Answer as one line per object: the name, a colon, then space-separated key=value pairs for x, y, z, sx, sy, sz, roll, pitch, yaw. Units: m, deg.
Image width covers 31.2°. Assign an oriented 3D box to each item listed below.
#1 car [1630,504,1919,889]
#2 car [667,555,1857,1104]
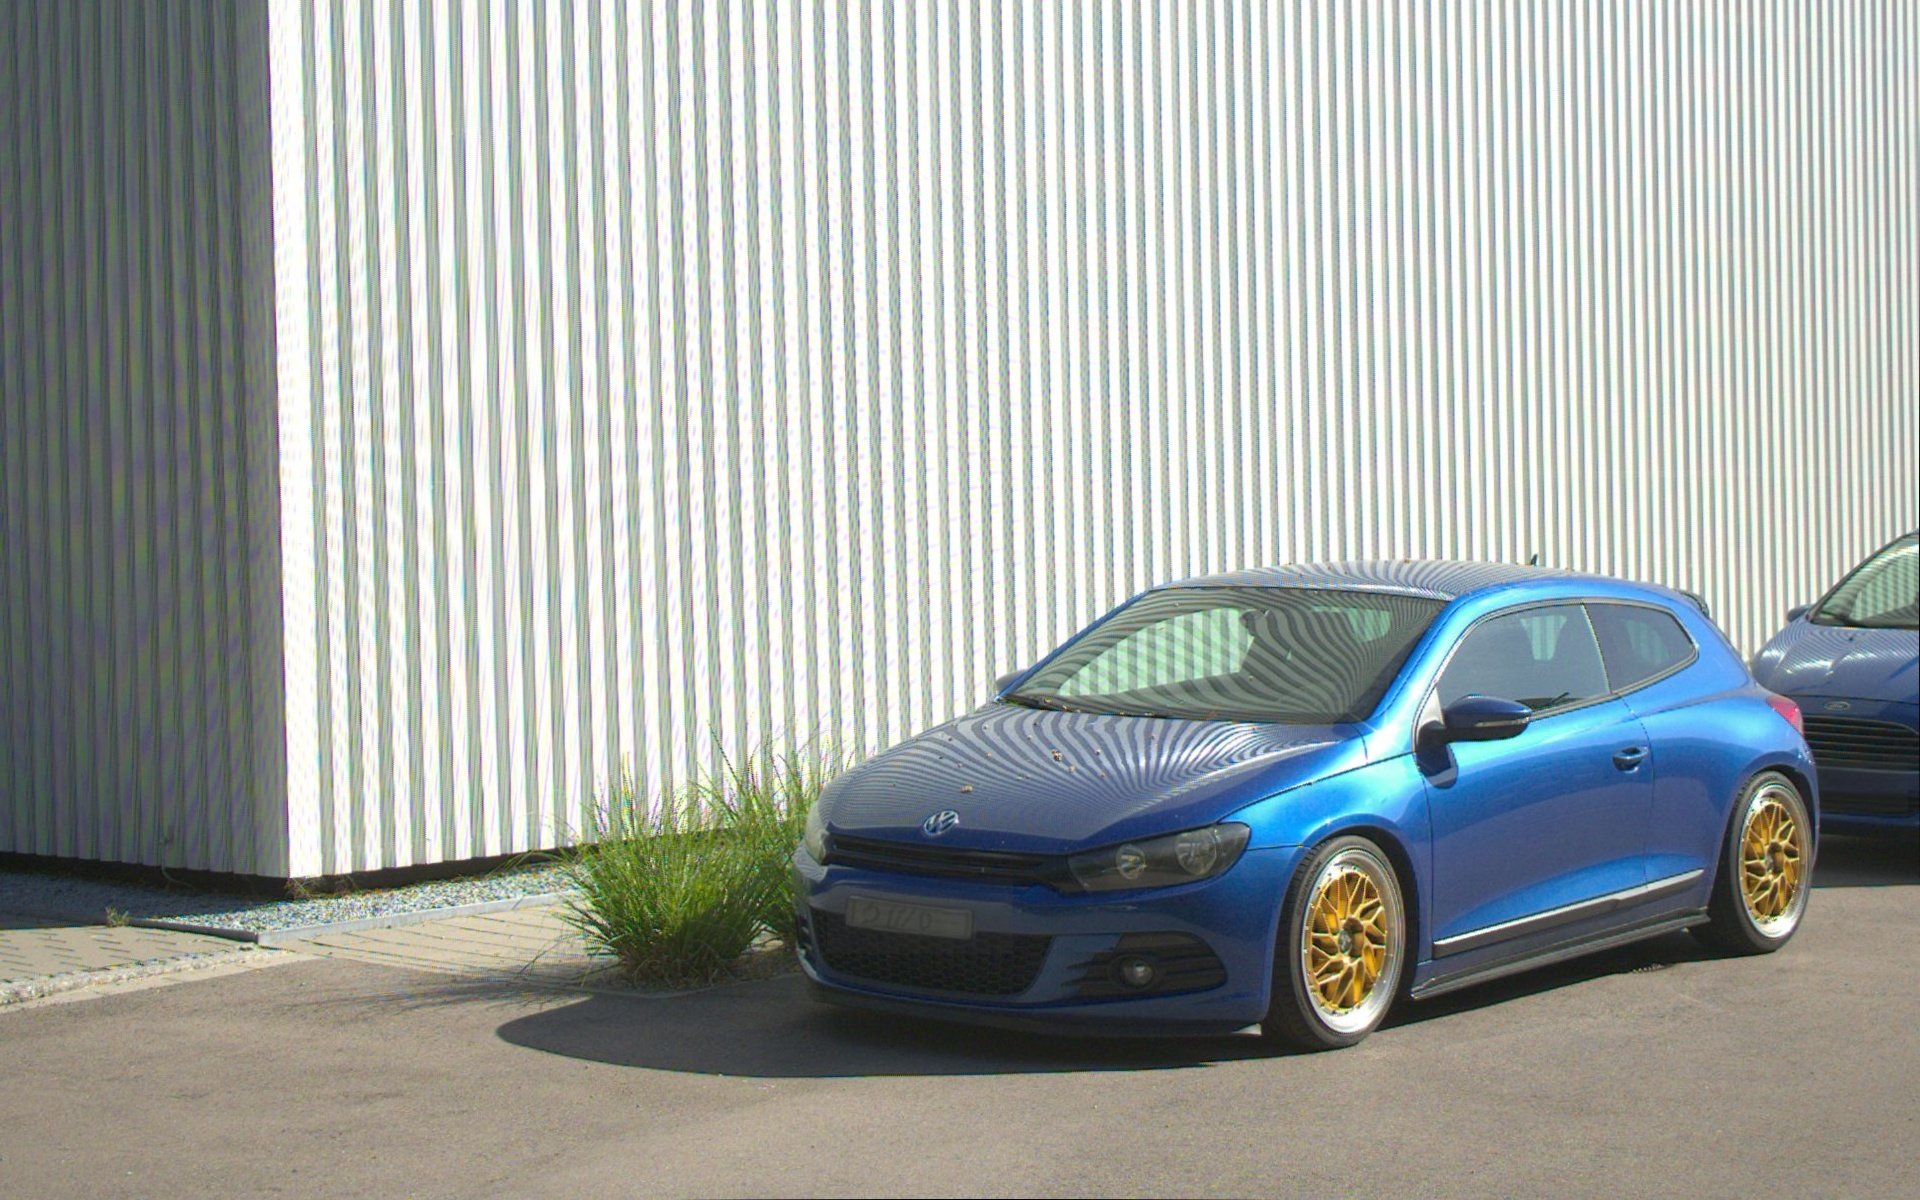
car: x=4.756 y=0.334 z=15.350 sx=1.754 sy=1.468 sz=3.889 roll=3 pitch=4 yaw=40
car: x=1.157 y=0.576 z=11.164 sx=1.753 sy=1.379 sz=4.159 roll=1 pitch=2 yaw=41
